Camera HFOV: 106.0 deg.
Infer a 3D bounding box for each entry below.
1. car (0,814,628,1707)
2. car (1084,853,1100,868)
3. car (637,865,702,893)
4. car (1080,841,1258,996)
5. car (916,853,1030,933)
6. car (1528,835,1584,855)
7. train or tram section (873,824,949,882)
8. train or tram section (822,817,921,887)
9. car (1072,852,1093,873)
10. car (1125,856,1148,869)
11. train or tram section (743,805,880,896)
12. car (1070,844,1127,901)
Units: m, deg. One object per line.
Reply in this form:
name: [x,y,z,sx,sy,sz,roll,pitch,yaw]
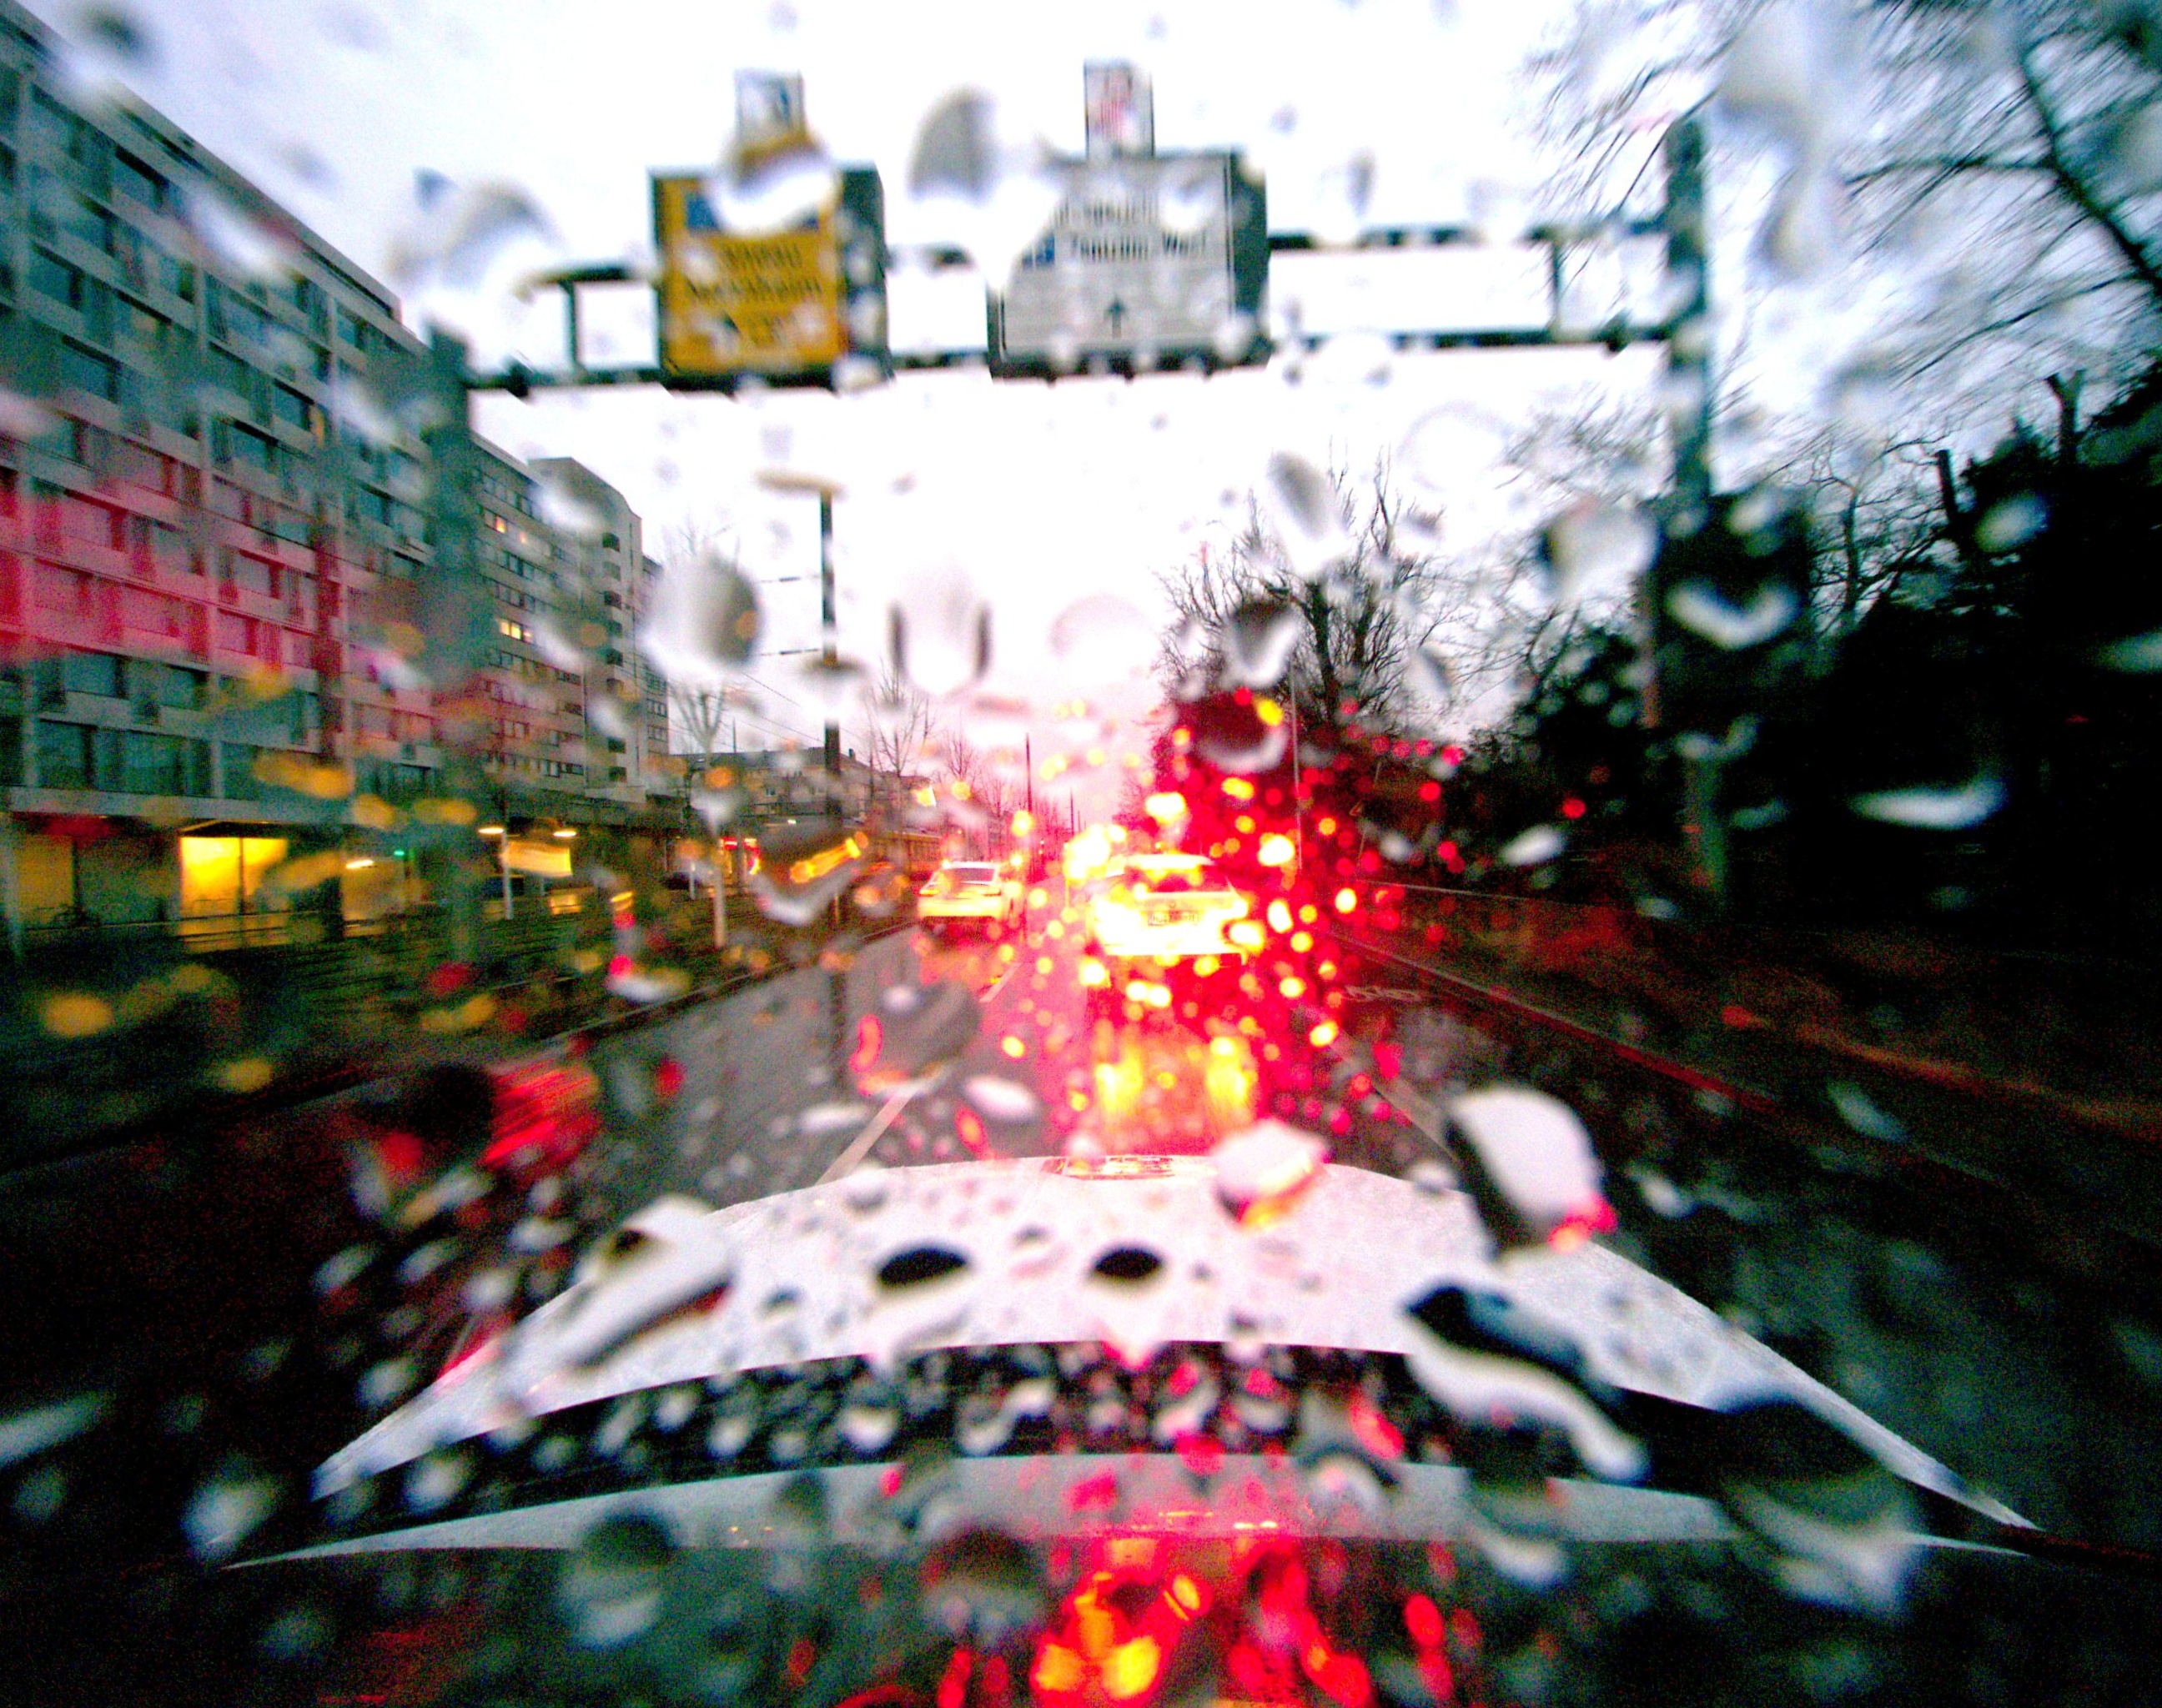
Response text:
car: [-2.496,0.747,0.796,1.753,1.594,4.002,-1,0,2]
car: [1.517,0.864,109.547,1.986,2.014,4.002,-1,0,2]
car: [-29.727,1.779,58.841,3.839,1.797,1.887,-2,0,-40]
car: [0.900,0.665,10.430,1.754,1.552,4.250,-1,0,-1]
car: [-2.144,0.736,17.279,1.753,1.469,4.252,-1,0,1]
car: [42.877,-0.806,73.637,1.825,1.662,3.958,0,0,-34]
train or tram section: [-11.394,-0.041,55.715,2.832,3.504,9.161,-3,0,2]
train or tram section: [-11.699,-0.081,46.577,2.832,3.504,9.161,-3,0,2]
car: [0.169,0.801,79.663,1.986,2.014,4.002,-1,0,2]
car: [8.830,1.412,129.188,1.974,2.014,4.025,-1,0,32]
train or tram section: [-11.991,-0.118,37.433,2.832,3.504,9.161,-3,0,2]
car: [0.695,0.668,31.124,1.986,2.014,4.002,-1,0,2]
